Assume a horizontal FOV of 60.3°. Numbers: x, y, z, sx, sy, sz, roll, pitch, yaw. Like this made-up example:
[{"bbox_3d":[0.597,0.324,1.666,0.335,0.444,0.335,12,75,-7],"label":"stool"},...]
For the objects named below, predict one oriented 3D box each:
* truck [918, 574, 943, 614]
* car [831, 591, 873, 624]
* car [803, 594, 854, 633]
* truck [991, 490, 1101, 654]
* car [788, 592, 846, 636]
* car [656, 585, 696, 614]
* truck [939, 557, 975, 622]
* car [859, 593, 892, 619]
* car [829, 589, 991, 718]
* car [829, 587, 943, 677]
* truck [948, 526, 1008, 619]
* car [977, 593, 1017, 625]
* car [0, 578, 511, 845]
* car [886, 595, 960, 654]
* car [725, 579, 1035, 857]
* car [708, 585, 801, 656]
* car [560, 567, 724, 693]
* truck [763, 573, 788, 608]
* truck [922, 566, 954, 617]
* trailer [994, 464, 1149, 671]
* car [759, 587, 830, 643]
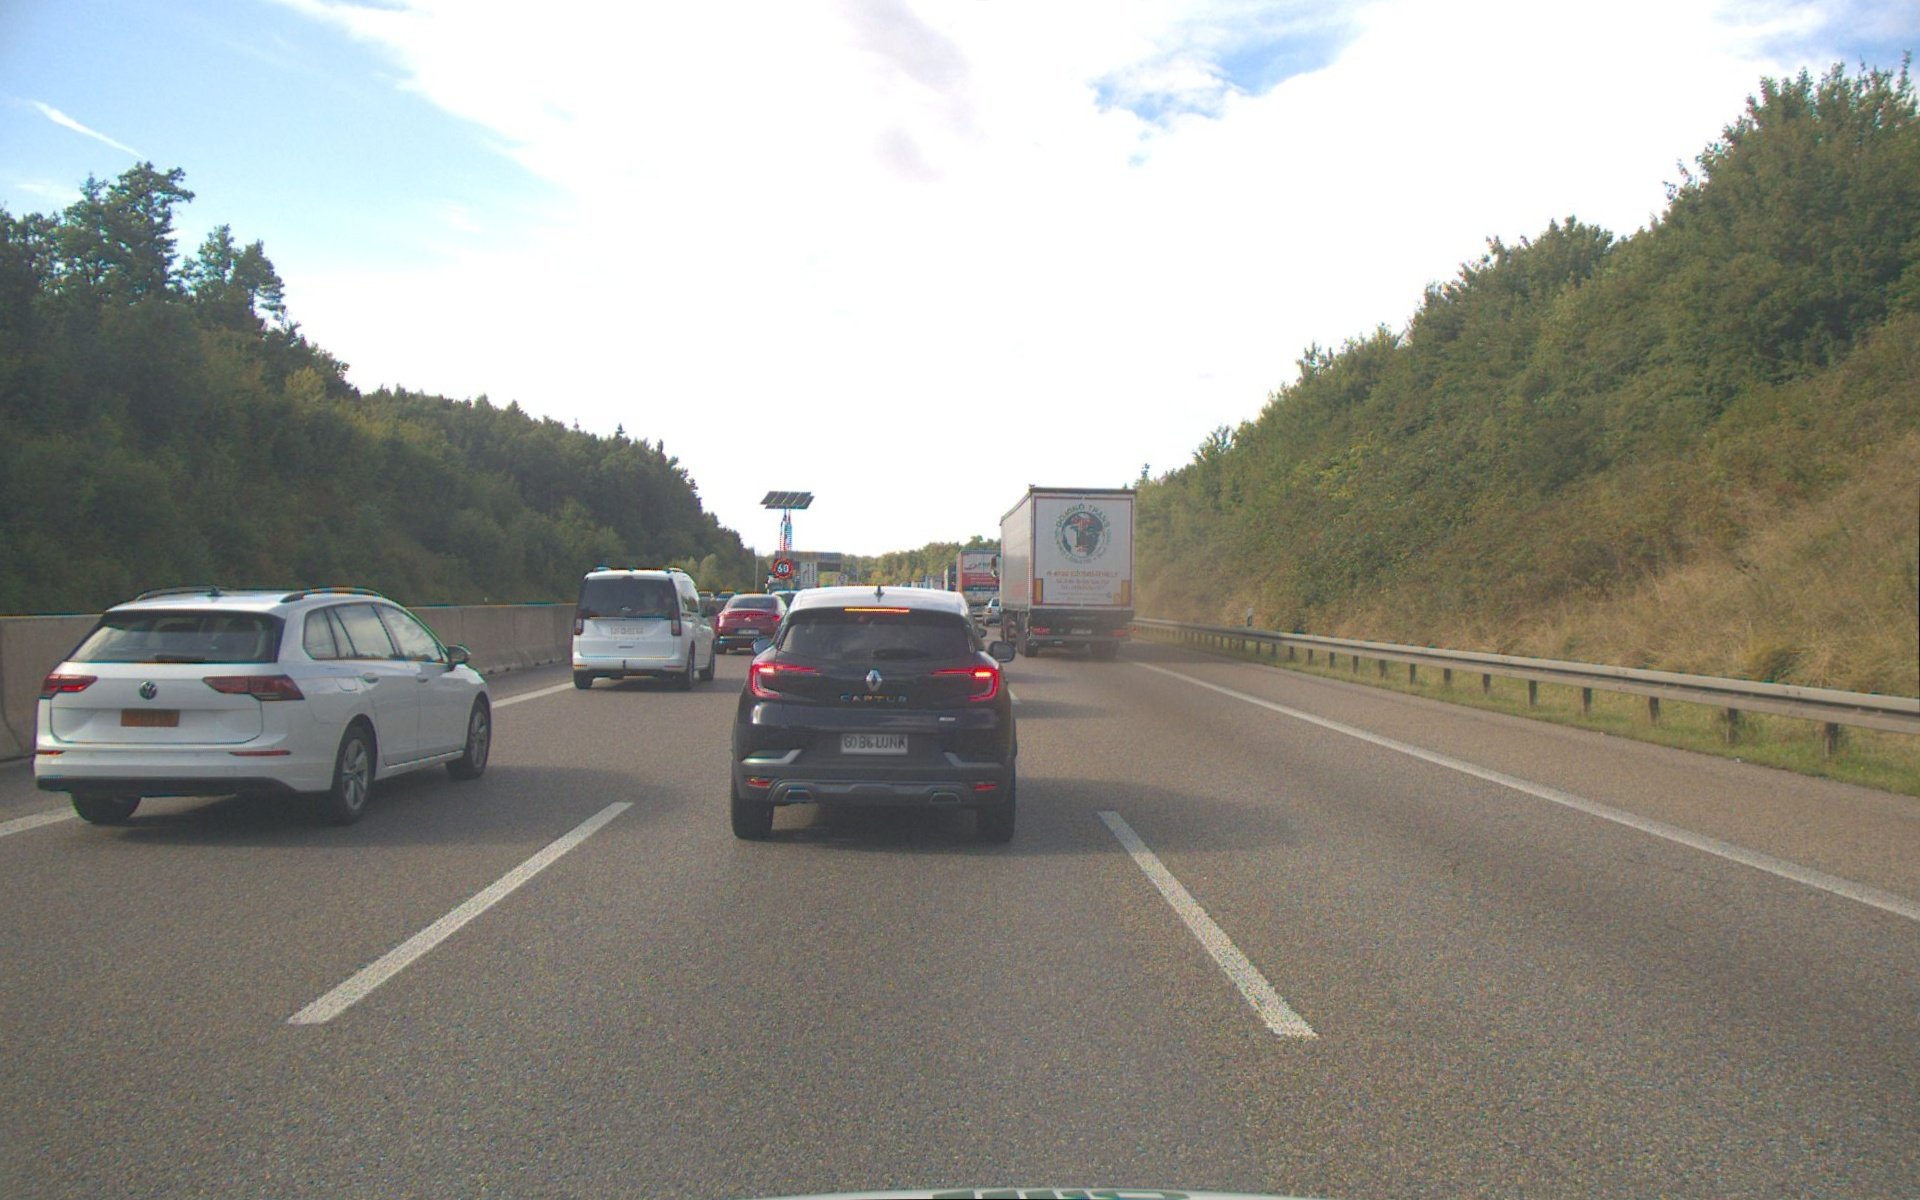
[{"bbox_3d":[-3.978,-0.747,225.127,3.102,5.250,12.735,1,0,0],"label":"truck"},{"bbox_3d":[-5.622,0.374,86.494,1.953,1.641,4.000,1,0,-1],"label":"car"},{"bbox_3d":[-5.823,0.602,73.455,1.953,1.641,3.999,1,0,-1],"label":"car"},{"bbox_3d":[2.568,-0.815,51.219,2.936,4.749,5.938,1,0,-1],"label":"truck"},{"bbox_3d":[-5.663,0.557,65.924,1.953,1.641,3.999,1,0,-1],"label":"car"},{"bbox_3d":[-18.614,-0.016,108.596,1.814,1.841,4.923,1,0,-1],"label":"car"},{"bbox_3d":[-0.280,-0.854,149.658,3.102,5.601,12.735,1,0,0],"label":"truck"},{"bbox_3d":[-5.555,0.388,109.263,1.953,1.641,4.000,1,0,-1],"label":"car"},{"bbox_3d":[-0.622,0.663,22.156,1.953,1.540,3.999,1,0,-1],"label":"car"},{"bbox_3d":[-1.319,0.571,30.908,1.953,1.540,3.999,1,0,-1],"label":"car"},{"bbox_3d":[0.993,-1.517,98.850,3.296,5.132,12.735,1,0,0],"label":"truck"},{"bbox_3d":[1.823,0.441,83.191,1.768,1.559,3.924,1,0,-2],"label":"car"},{"bbox_3d":[-4.594,0.640,11.462,1.767,1.486,4.308,1,0,0],"label":"car"},{"bbox_3d":[-0.991,0.673,46.121,1.953,1.540,3.999,1,0,-1],"label":"car"},{"bbox_3d":[-0.413,0.677,11.476,1.767,1.579,4.001,0,0,1],"label":"car"},{"bbox_3d":[-5.103,0.497,41.443,1.817,1.669,3.925,1,0,0],"label":"car"},{"bbox_3d":[-4.993,0.453,26.525,1.873,1.821,4.415,1,0,-2],"label":"car"},{"bbox_3d":[-27.939,-1.477,250.618,2.831,5.182,10.078,1,0,-1],"label":"truck"},{"bbox_3d":[-2.487,-0.867,190.667,3.101,5.601,12.738,1,0,1],"label":"truck"},{"bbox_3d":[2.708,-0.774,44.723,2.941,4.742,13.286,1,0,-1],"label":"trailer"},{"bbox_3d":[-5.392,0.489,54.377,1.953,1.752,3.999,1,0,-1],"label":"car"}]
